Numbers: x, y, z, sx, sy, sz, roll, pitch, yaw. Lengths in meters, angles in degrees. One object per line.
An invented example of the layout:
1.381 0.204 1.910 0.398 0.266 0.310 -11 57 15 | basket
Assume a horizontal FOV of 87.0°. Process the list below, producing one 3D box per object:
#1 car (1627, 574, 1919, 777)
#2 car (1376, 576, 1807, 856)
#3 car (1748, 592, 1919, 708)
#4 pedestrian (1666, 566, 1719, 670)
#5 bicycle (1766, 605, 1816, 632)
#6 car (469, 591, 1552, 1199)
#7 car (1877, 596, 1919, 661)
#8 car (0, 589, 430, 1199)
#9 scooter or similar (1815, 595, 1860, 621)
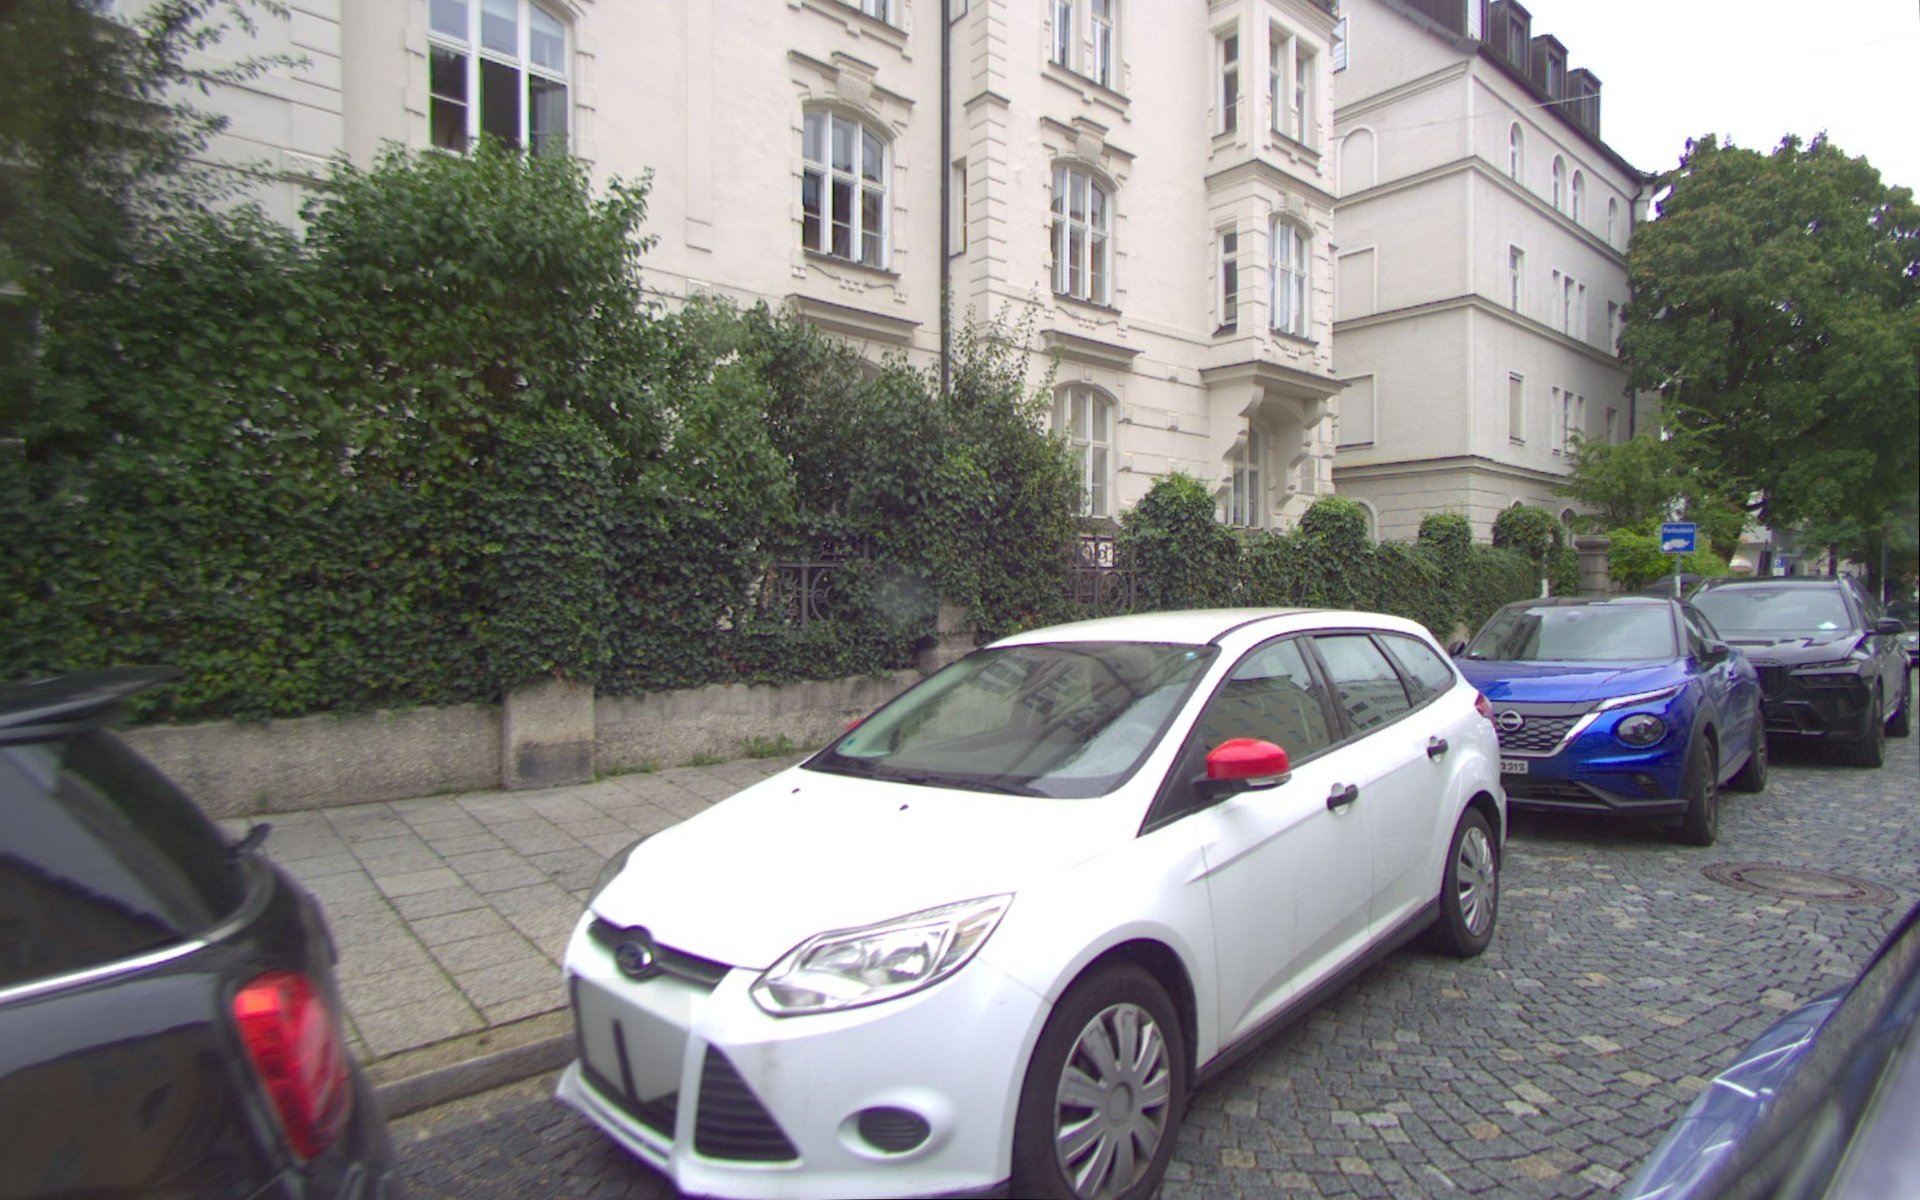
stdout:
9.140 0.603 10.956 5.396 1.694 1.878 -1 0 -42 | car
4.860 0.628 7.515 4.179 1.501 1.710 -1 -2 -44 | car
13.037 0.657 14.883 3.596 1.488 1.632 -1 -2 -42 | car
13.406 0.319 18.530 0.668 1.873 0.577 0 0 -34 | pedestrian
37.279 0.810 45.417 0.726 1.081 1.606 -4 5 -38 | bicycle
0.676 0.704 3.922 1.774 1.447 4.320 0 0 45 | car
23.122 0.609 23.938 4.554 1.440 1.649 -1 -3 -43 | car
-2.762 0.758 0.777 3.898 1.471 1.685 -1 -1 -42 | car
41.366 0.356 47.711 0.396 1.187 1.611 0 1 -18 | scooter or similar
